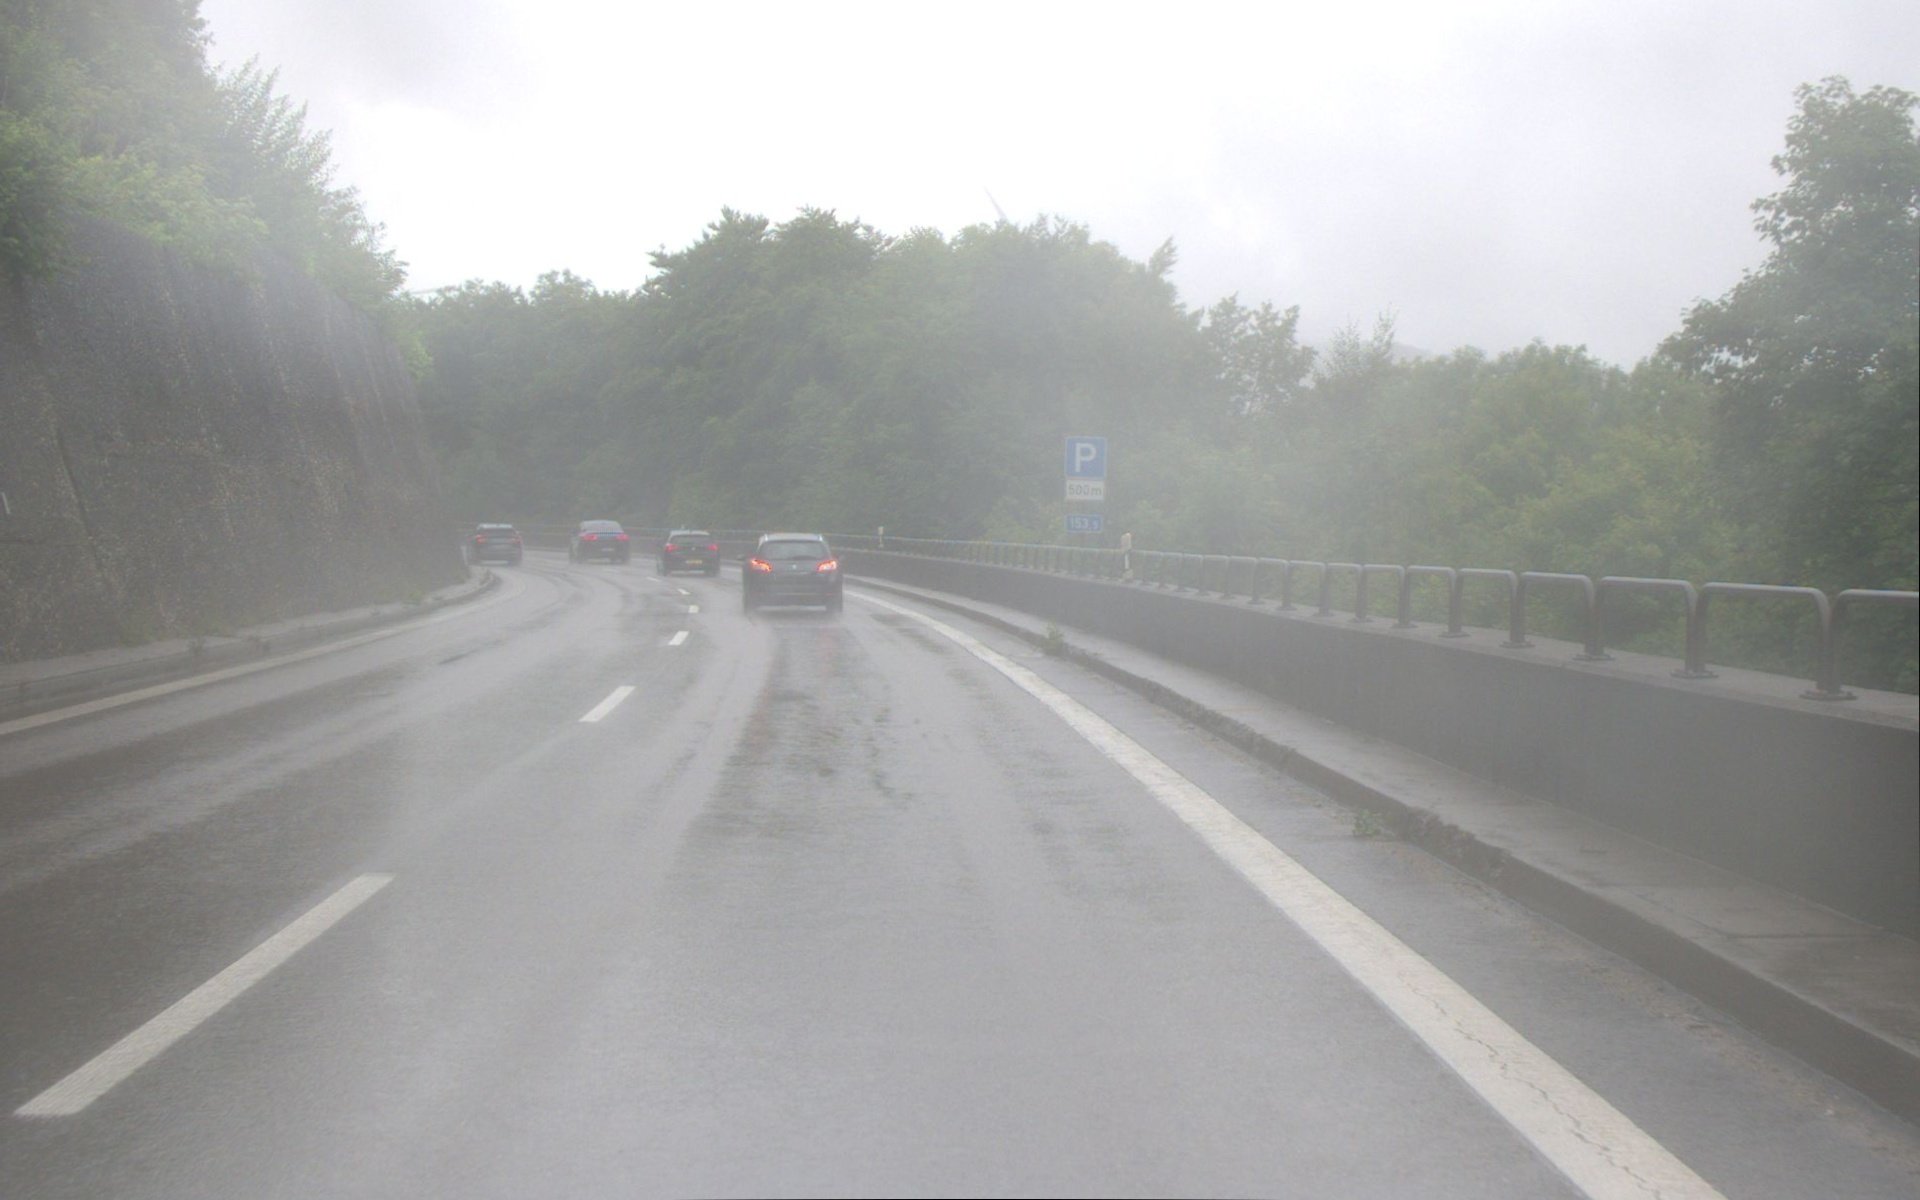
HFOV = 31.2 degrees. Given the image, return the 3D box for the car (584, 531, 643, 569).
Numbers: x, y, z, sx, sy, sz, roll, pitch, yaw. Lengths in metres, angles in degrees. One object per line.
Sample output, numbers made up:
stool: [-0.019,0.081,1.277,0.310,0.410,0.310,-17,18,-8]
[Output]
car: [-13.711,-1.976,135.922,1.800,1.462,4.001,0,1,-13]

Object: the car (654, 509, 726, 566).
car: [-8.596,-1.967,109.173,1.993,1.744,4.001,1,1,-8]

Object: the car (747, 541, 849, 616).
car: [-2.971,-0.423,62.829,1.800,1.303,4.001,0,1,-3]

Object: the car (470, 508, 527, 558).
car: [-18.011,-2.586,134.156,1.993,1.897,4.001,1,1,-11]
